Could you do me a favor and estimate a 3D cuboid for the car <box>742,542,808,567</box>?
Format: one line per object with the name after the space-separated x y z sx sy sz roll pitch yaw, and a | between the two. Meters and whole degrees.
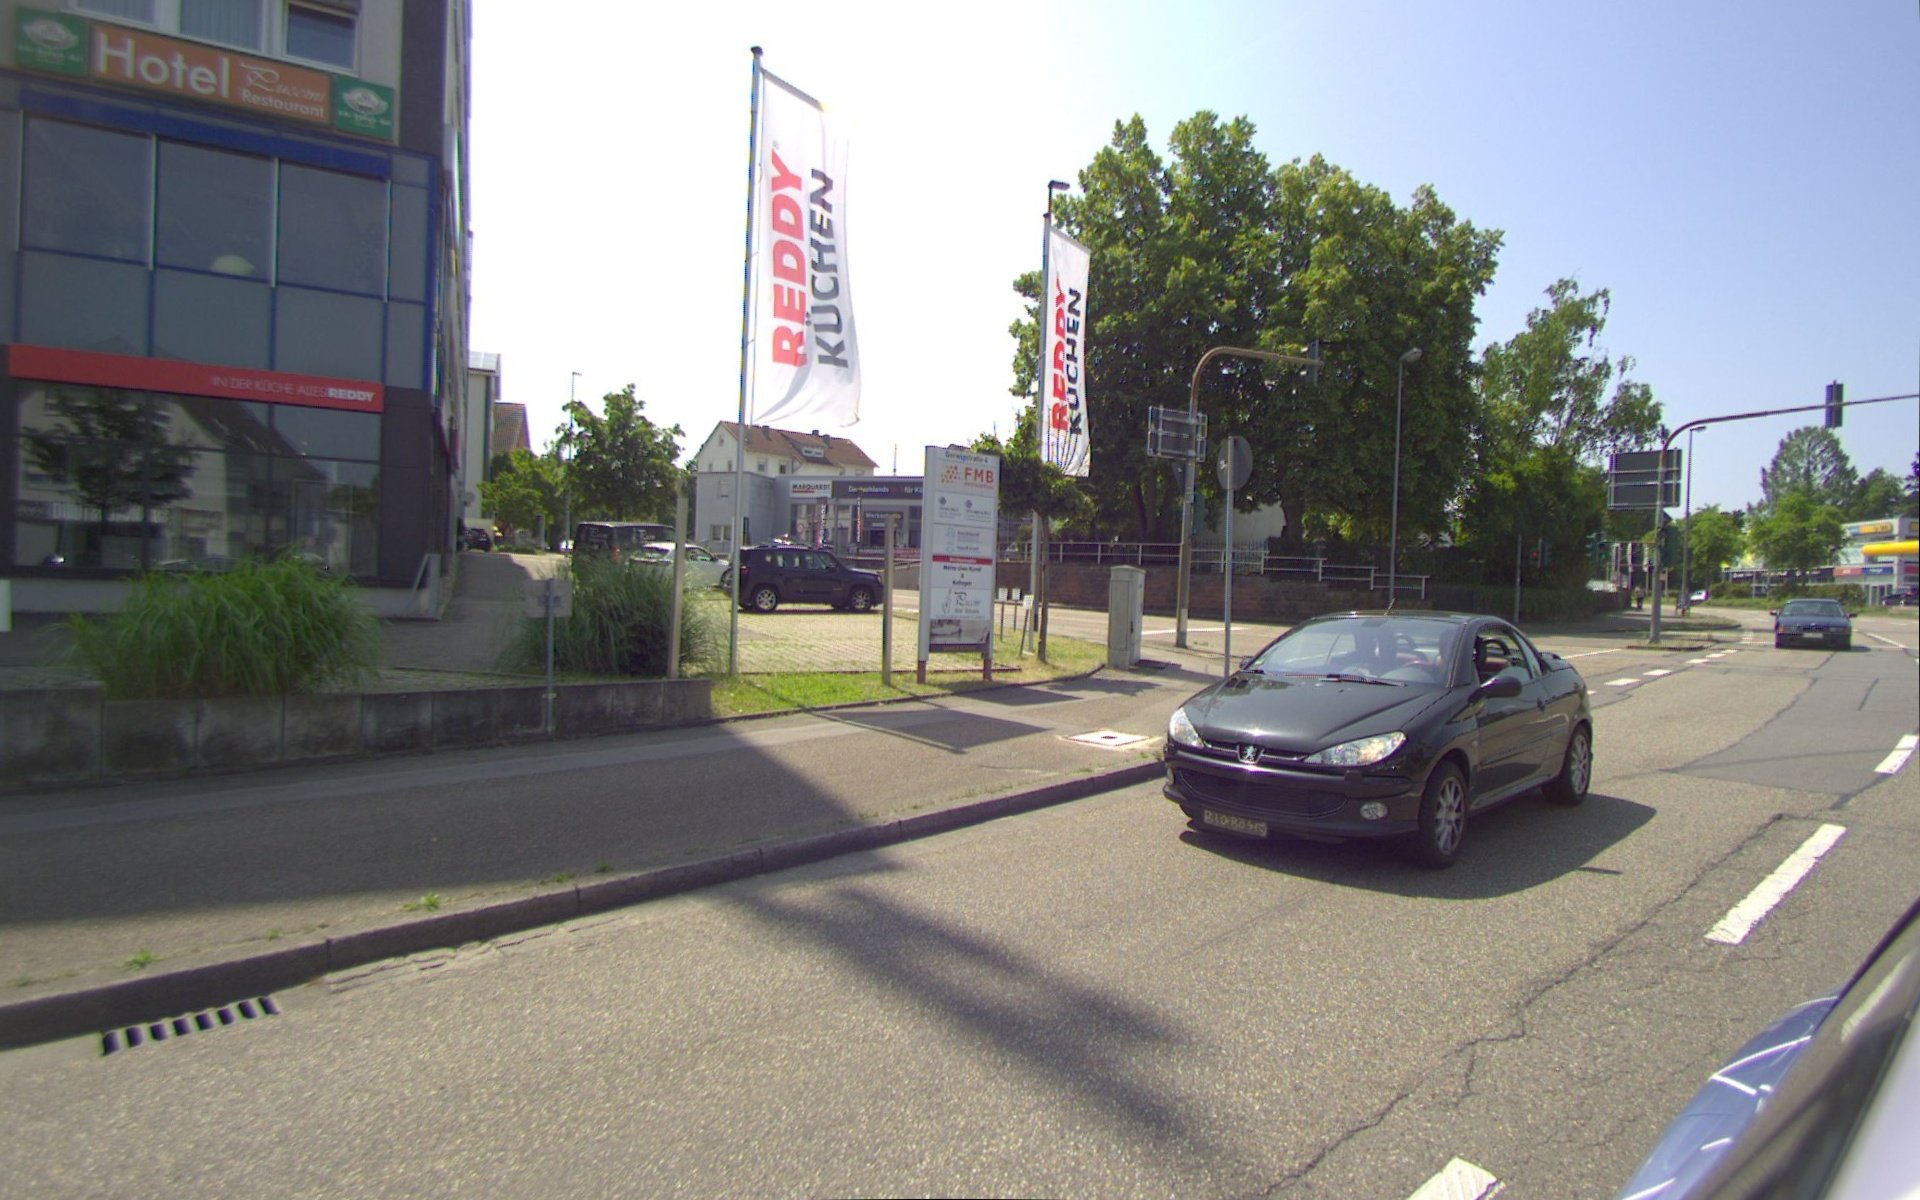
-13.019 -3.198 71.417 4.115 1.474 1.992 4 1 14 | car

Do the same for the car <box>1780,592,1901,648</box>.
24.585 0.511 28.220 3.925 1.390 1.699 -1 2 -36 | car

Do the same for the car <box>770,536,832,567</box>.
-11.612 -3.544 74.008 3.941 2.038 1.992 4 1 14 | car

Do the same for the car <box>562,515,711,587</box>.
-10.395 -1.505 32.996 1.867 2.063 5.158 -1 0 20 | car

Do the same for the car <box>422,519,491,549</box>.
-31.179 -4.060 62.637 3.960 1.683 1.863 0 1 27 | car

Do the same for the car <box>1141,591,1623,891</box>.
2.941 0.677 6.708 3.599 1.443 1.602 0 0 -43 | car

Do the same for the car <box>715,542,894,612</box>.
-3.968 -0.594 25.989 4.241 1.696 1.546 0 2 -28 | car

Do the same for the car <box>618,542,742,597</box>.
-8.427 -0.926 30.873 1.524 1.551 4.198 1 1 20 | car
